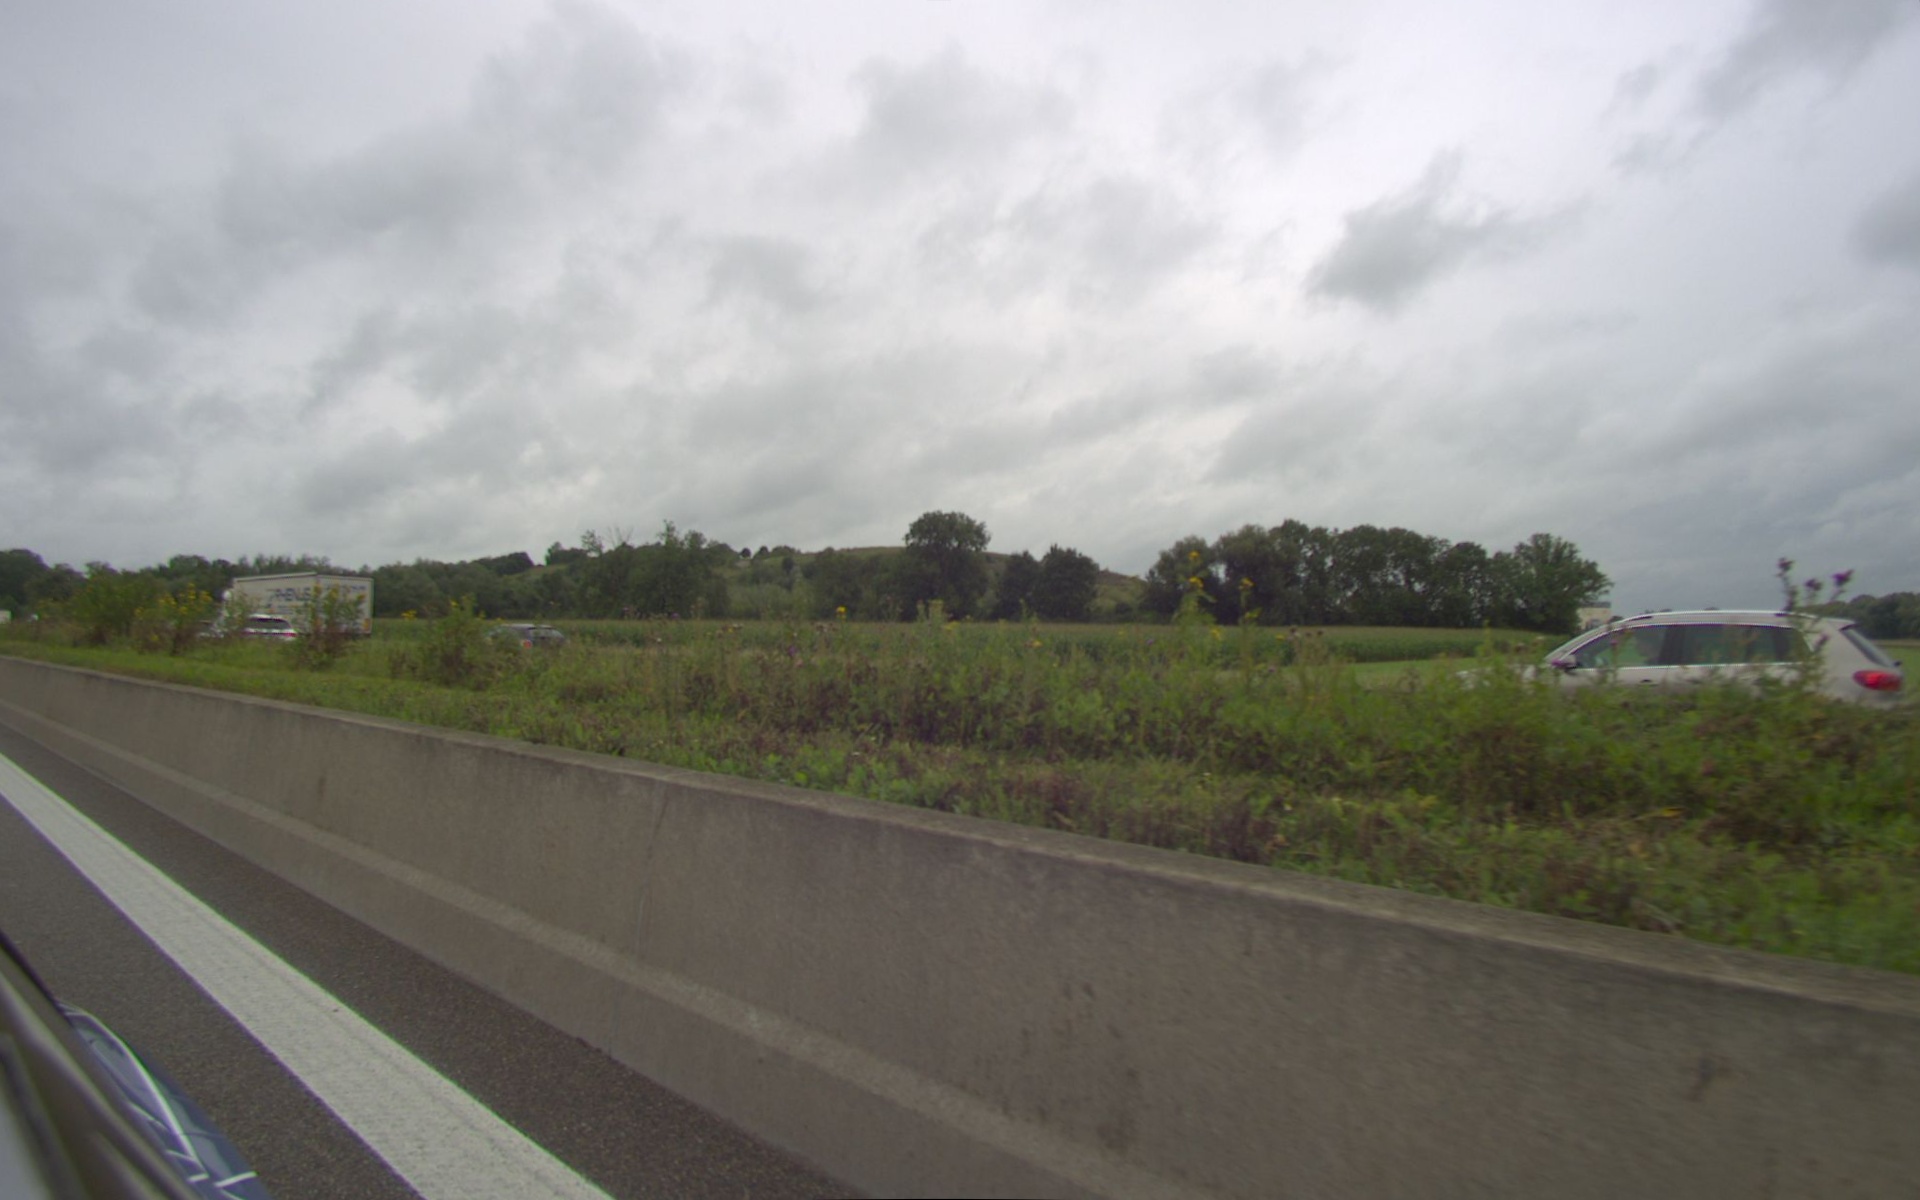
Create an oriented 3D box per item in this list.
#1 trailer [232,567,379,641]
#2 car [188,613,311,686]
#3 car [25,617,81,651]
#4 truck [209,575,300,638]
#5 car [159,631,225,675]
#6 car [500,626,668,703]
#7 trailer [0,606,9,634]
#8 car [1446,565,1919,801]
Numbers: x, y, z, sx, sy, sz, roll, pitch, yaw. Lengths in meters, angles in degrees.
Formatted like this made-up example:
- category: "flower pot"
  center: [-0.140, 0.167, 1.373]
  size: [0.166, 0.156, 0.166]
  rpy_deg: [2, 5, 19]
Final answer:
- category: "trailer"
  center: [-34.621, 0.242, 53.139]
  size: [13.234, 3.454, 2.884]
  rpy_deg: [-1, 0, 41]
- category: "car"
  center: [-21.414, 1.450, 30.445]
  size: [4.346, 2.029, 1.973]
  rpy_deg: [-1, -3, 41]
- category: "car"
  center: [-52.796, 1.970, 58.869]
  size: [4.798, 1.852, 1.800]
  rpy_deg: [-1, -3, 41]
- category: "truck"
  center: [-40.721, 0.391, 58.380]
  size: [5.623, 3.454, 2.940]
  rpy_deg: [-1, 0, 40]
- category: "car"
  center: [-37.856, 2.570, 49.877]
  size: [3.998, 2.029, 1.773]
  rpy_deg: [-1, -3, 41]
- category: "car"
  center: [-9.220, 1.503, 24.683]
  size: [4.346, 1.710, 1.973]
  rpy_deg: [-1, -3, 41]
- category: "trailer"
  center: [-121.086, 2.516, 126.063]
  size: [9.918, 3.353, 2.759]
  rpy_deg: [-1, 0, 40]
- category: "car"
  center: [7.682, 0.783, 10.561]
  size: [4.346, 2.029, 1.973]
  rpy_deg: [-1, -3, 41]
